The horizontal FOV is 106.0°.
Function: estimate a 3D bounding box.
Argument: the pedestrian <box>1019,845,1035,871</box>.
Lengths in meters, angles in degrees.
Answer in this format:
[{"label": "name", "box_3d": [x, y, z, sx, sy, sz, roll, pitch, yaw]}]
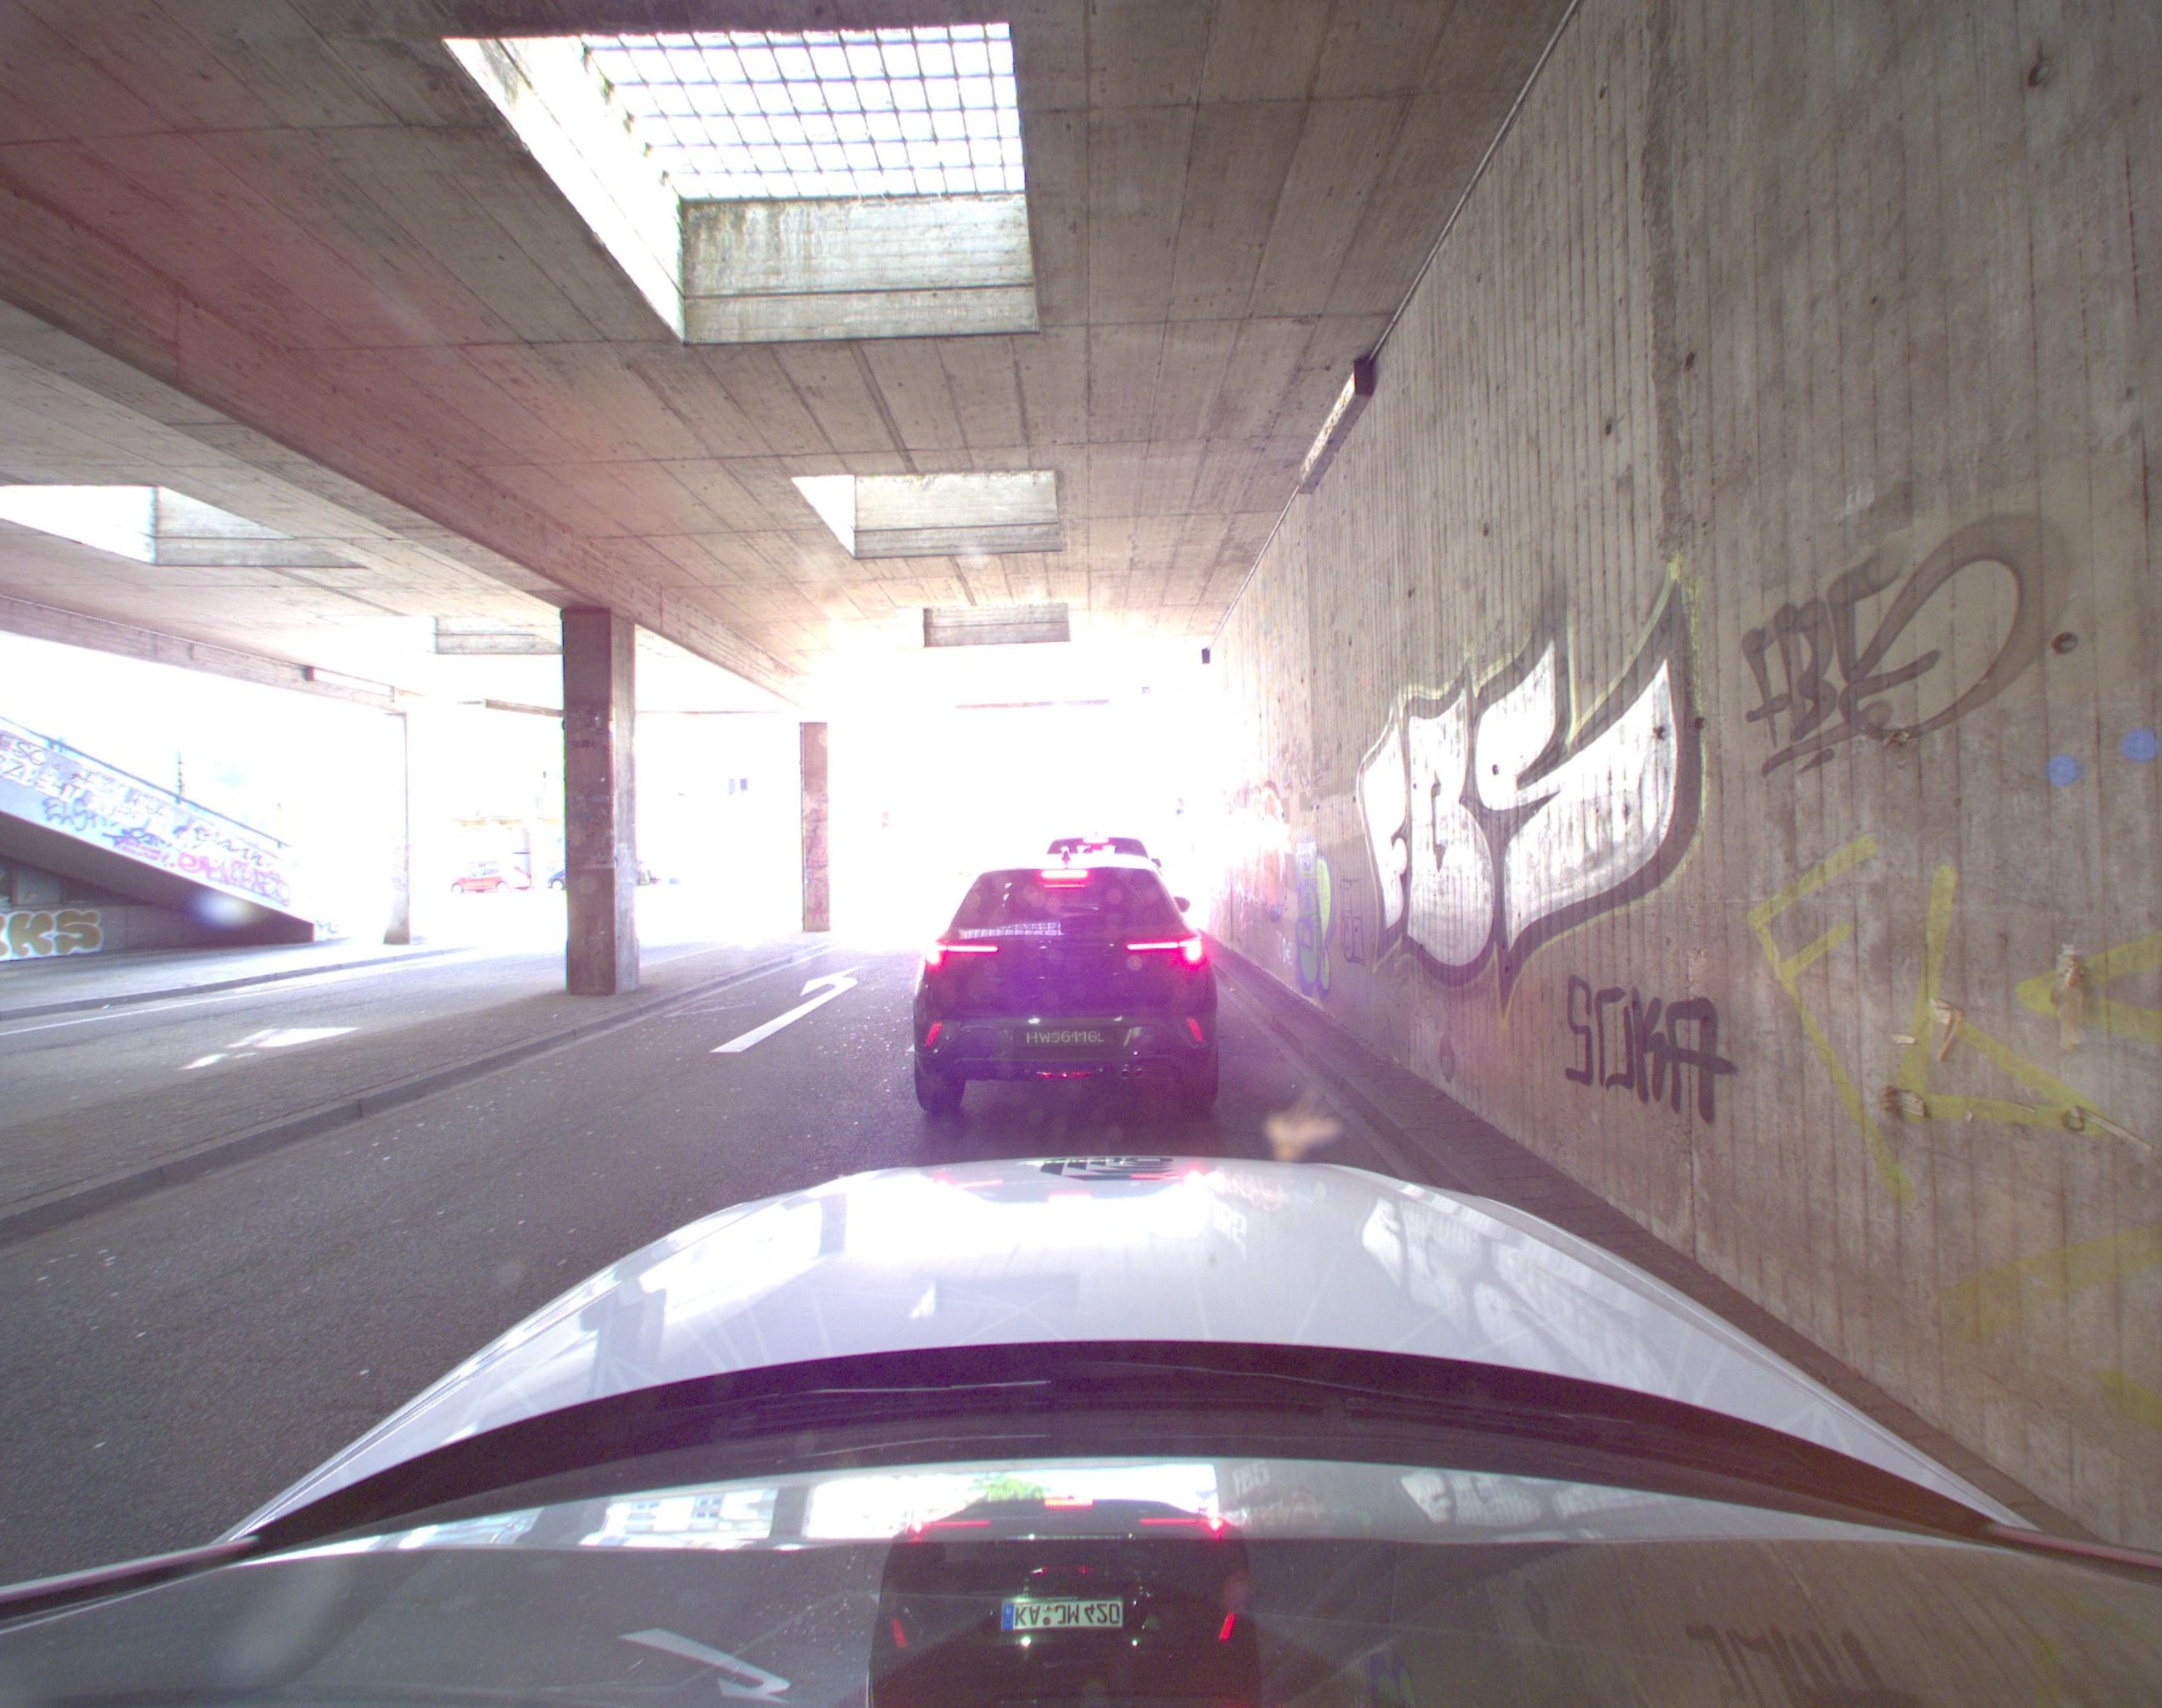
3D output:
[{"label": "pedestrian", "box_3d": [-3.394, 0.259, 51.657, 0.729, 1.585, 0.894, 0, -1, 18]}]

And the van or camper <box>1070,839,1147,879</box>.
[{"label": "van or camper", "box_3d": [1.526, 0.277, 43.780, 3.854, 2.013, 2.005, -1, 0, 9]}]

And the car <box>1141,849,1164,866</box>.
[{"label": "car", "box_3d": [6.486, 0.301, 73.568, 1.588, 1.452, 3.807, -1, 0, 11]}]

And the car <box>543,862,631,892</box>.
[{"label": "car", "box_3d": [-27.389, 1.281, 45.226, 3.742, 1.508, 1.752, -2, 0, 0]}]

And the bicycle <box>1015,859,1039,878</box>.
[{"label": "bicycle", "box_3d": [-3.410, 0.894, 51.570, 0.730, 1.130, 2.036, -2, 0, 19]}]

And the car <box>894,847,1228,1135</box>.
[{"label": "car", "box_3d": [-0.030, 0.716, 6.270, 1.746, 1.498, 4.002, 0, 0, 2]}]

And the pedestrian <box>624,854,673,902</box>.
[{"label": "pedestrian", "box_3d": [-16.236, 0.899, 30.618, 1.103, 1.737, 1.146, -1, 0, 15]}]

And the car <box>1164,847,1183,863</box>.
[{"label": "car", "box_3d": [9.942, 0.113, 87.168, 1.573, 1.640, 3.819, -1, 0, 12]}]

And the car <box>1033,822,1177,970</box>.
[{"label": "car", "box_3d": [0.370, 0.527, 12.180, 1.779, 1.833, 3.962, -1, 0, 2]}]

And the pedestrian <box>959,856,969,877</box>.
[{"label": "pedestrian", "box_3d": [-9.411, 0.993, 65.772, 0.619, 1.705, 0.725, 0, -1, 8]}]

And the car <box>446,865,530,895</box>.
[{"label": "car", "box_3d": [-32.840, 1.430, 45.136, 3.519, 1.506, 1.563, -1, 0, 2]}]
